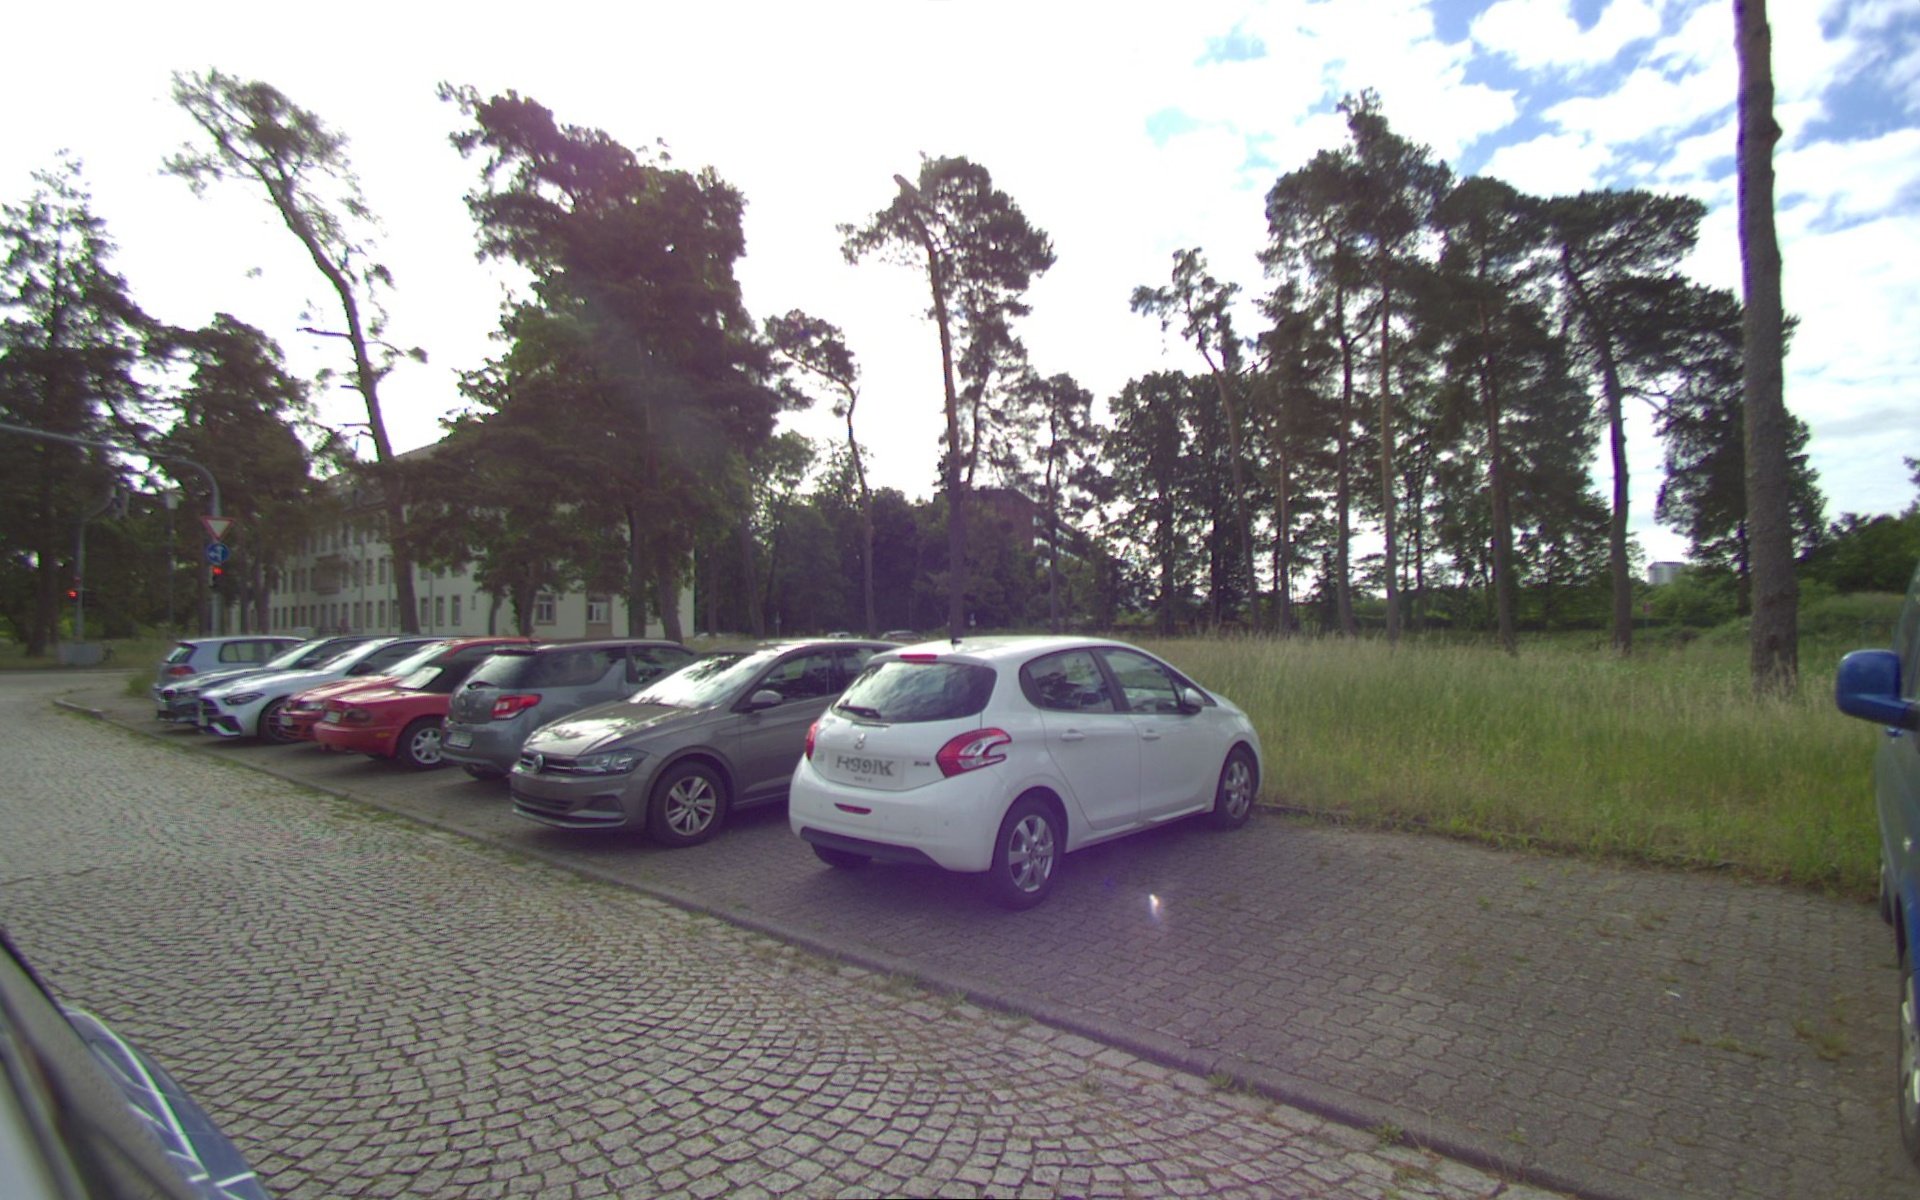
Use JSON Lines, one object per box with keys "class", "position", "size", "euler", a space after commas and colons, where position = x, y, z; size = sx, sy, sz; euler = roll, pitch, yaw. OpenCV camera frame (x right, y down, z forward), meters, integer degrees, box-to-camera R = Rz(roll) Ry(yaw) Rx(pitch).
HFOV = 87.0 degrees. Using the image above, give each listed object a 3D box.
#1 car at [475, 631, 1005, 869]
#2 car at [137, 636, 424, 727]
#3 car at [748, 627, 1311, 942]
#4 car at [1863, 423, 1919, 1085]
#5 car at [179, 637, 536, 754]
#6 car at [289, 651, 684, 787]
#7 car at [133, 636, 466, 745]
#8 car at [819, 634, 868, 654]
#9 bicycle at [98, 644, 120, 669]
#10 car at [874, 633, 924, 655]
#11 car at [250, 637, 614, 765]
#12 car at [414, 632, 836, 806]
{"class": "car", "position": [-1.652, 1.050, 8.731], "size": [1.731, 1.492, 4.257], "euler": [-3, -3, 43]}
{"class": "car", "position": [-12.931, 1.466, 19.466], "size": [1.827, 1.481, 4.282], "euler": [-1, -2, 43]}
{"class": "car", "position": [0.707, 0.974, 7.079], "size": [1.843, 1.513, 3.961], "euler": [-3, -3, 43]}
{"class": "car", "position": [4.436, 0.577, 3.311], "size": [2.037, 1.996, 4.661], "euler": [-3, -2, 41]}
{"class": "car", "position": [-9.175, 1.346, 15.696], "size": [1.949, 1.466, 4.389], "euler": [-1, -2, 42]}
{"class": "car", "position": [-5.691, 1.330, 12.553], "size": [1.763, 1.293, 4.087], "euler": [-3, -2, 41]}
{"class": "car", "position": [-11.200, 1.435, 17.457], "size": [1.868, 1.549, 4.458], "euler": [-1, -2, 38]}
{"class": "car", "position": [-9.955, 3.773, 86.874], "size": [3.998, 1.622, 1.718], "euler": [1, -1, -45]}
{"class": "bicycle", "position": [-38.422, 2.540, 45.680], "size": [1.415, 1.082, 0.491], "euler": [-2, 0, 39]}
{"class": "car", "position": [-4.891, 3.522, 81.425], "size": [1.717, 1.622, 4.000], "euler": [0, -1, 43]}
{"class": "car", "position": [-7.301, 1.295, 14.333], "size": [1.854, 1.466, 4.209], "euler": [-3, -2, 41]}
{"class": "car", "position": [-3.467, 1.123, 11.032], "size": [1.755, 1.492, 4.044], "euler": [-3, -2, 42]}
